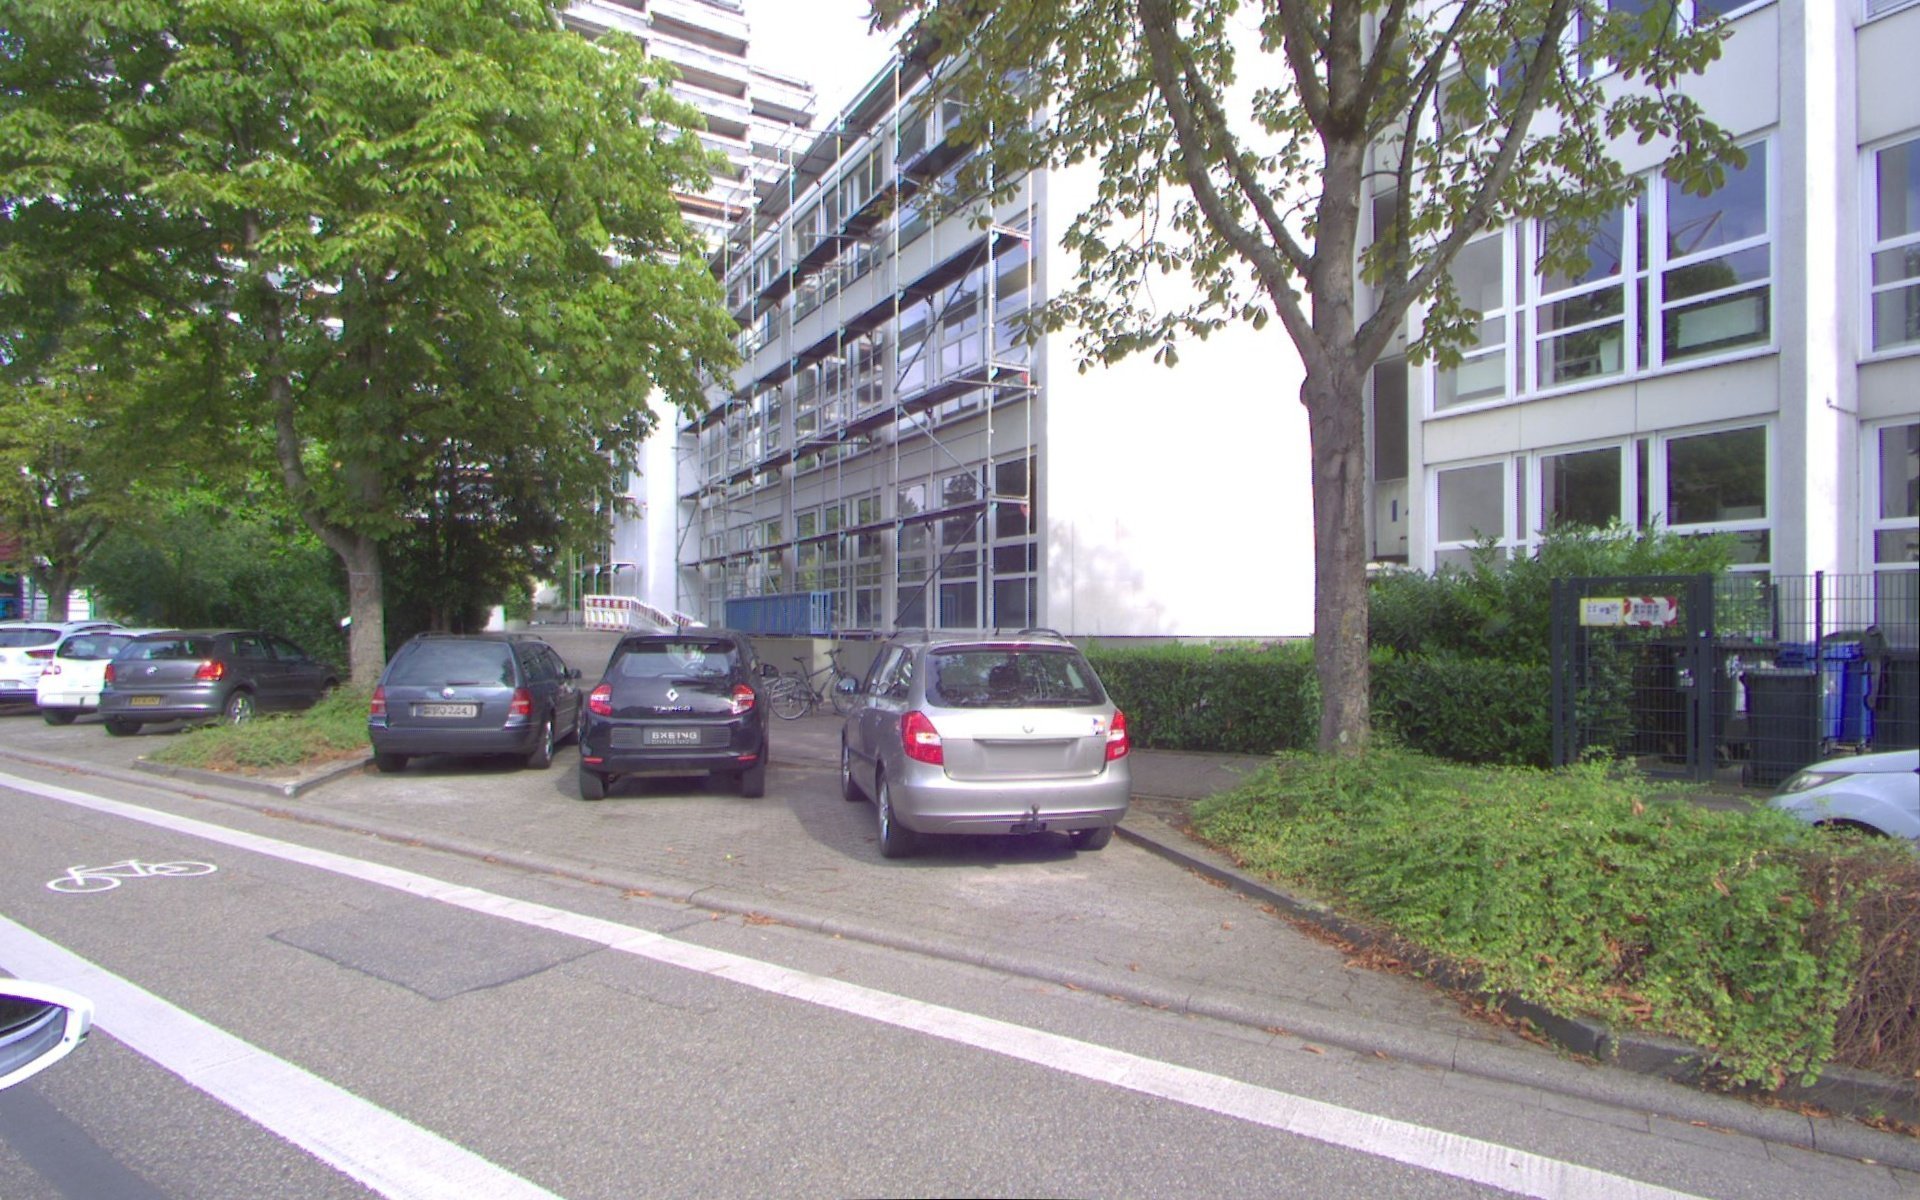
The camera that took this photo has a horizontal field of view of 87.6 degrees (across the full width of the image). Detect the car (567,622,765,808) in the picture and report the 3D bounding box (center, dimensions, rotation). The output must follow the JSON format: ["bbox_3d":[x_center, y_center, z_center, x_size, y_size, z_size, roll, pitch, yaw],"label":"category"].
[{"bbox_3d":[-2.815,1.014,10.195,1.566,1.557,3.416,1,-1,-10],"label":"car"}]

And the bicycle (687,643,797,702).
[{"bbox_3d":[-4.111,1.356,18.953,1.949,1.057,0.591,1,-1,-30],"label":"bicycle"}]

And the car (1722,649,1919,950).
[{"bbox_3d":[5.568,0.944,4.021,1.604,1.411,3.858,1,-2,-13],"label":"car"}]

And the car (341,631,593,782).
[{"bbox_3d":[-5.520,1.088,11.792,1.783,1.433,4.166,0,-2,-14],"label":"car"}]

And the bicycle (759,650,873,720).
[{"bbox_3d":[-2.372,1.385,16.598,1.813,1.057,0.451,0,0,-29],"label":"bicycle"}]

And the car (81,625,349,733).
[{"bbox_3d":[-11.094,1.109,15.262,1.650,1.438,3.647,0,-2,-6],"label":"car"}]

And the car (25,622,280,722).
[{"bbox_3d":[-13.433,1.137,16.964,1.650,1.493,3.647,0,-2,-6],"label":"car"}]

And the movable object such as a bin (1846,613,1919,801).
[{"bbox_3d":[8.597,0.892,8.567,1.397,1.549,1.322,-1,-1,37],"label":"movable object such as a bin"}]

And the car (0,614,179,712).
[{"bbox_3d":[-16.291,1.103,18.375,1.651,1.623,3.644,0,-2,-12],"label":"car"}]

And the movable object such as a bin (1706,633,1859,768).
[{"bbox_3d":[9.238,1.077,11.257,1.050,1.409,1.111,1,-1,-36],"label":"movable object such as a bin"}]

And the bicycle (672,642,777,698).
[{"bbox_3d":[-4.631,1.357,19.687,1.944,1.057,0.593,1,-1,-20],"label":"bicycle"}]

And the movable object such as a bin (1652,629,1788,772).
[{"bbox_3d":[8.076,1.024,10.644,1.012,1.425,0.906,1,-1,-36],"label":"movable object such as a bin"}]

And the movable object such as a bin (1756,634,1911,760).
[{"bbox_3d":[10.382,1.103,11.911,1.160,1.388,1.171,1,-1,-36],"label":"movable object such as a bin"}]

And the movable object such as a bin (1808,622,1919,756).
[{"bbox_3d":[11.565,1.078,12.572,1.160,1.588,1.171,1,-1,-36],"label":"movable object such as a bin"}]

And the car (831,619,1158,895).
[{"bbox_3d":[-0.021,0.960,7.820,1.566,1.557,4.049,1,-2,-13],"label":"car"}]

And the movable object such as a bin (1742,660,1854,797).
[{"bbox_3d":[7.460,1.111,8.952,0.734,1.119,0.781,0,-1,38],"label":"movable object such as a bin"}]
